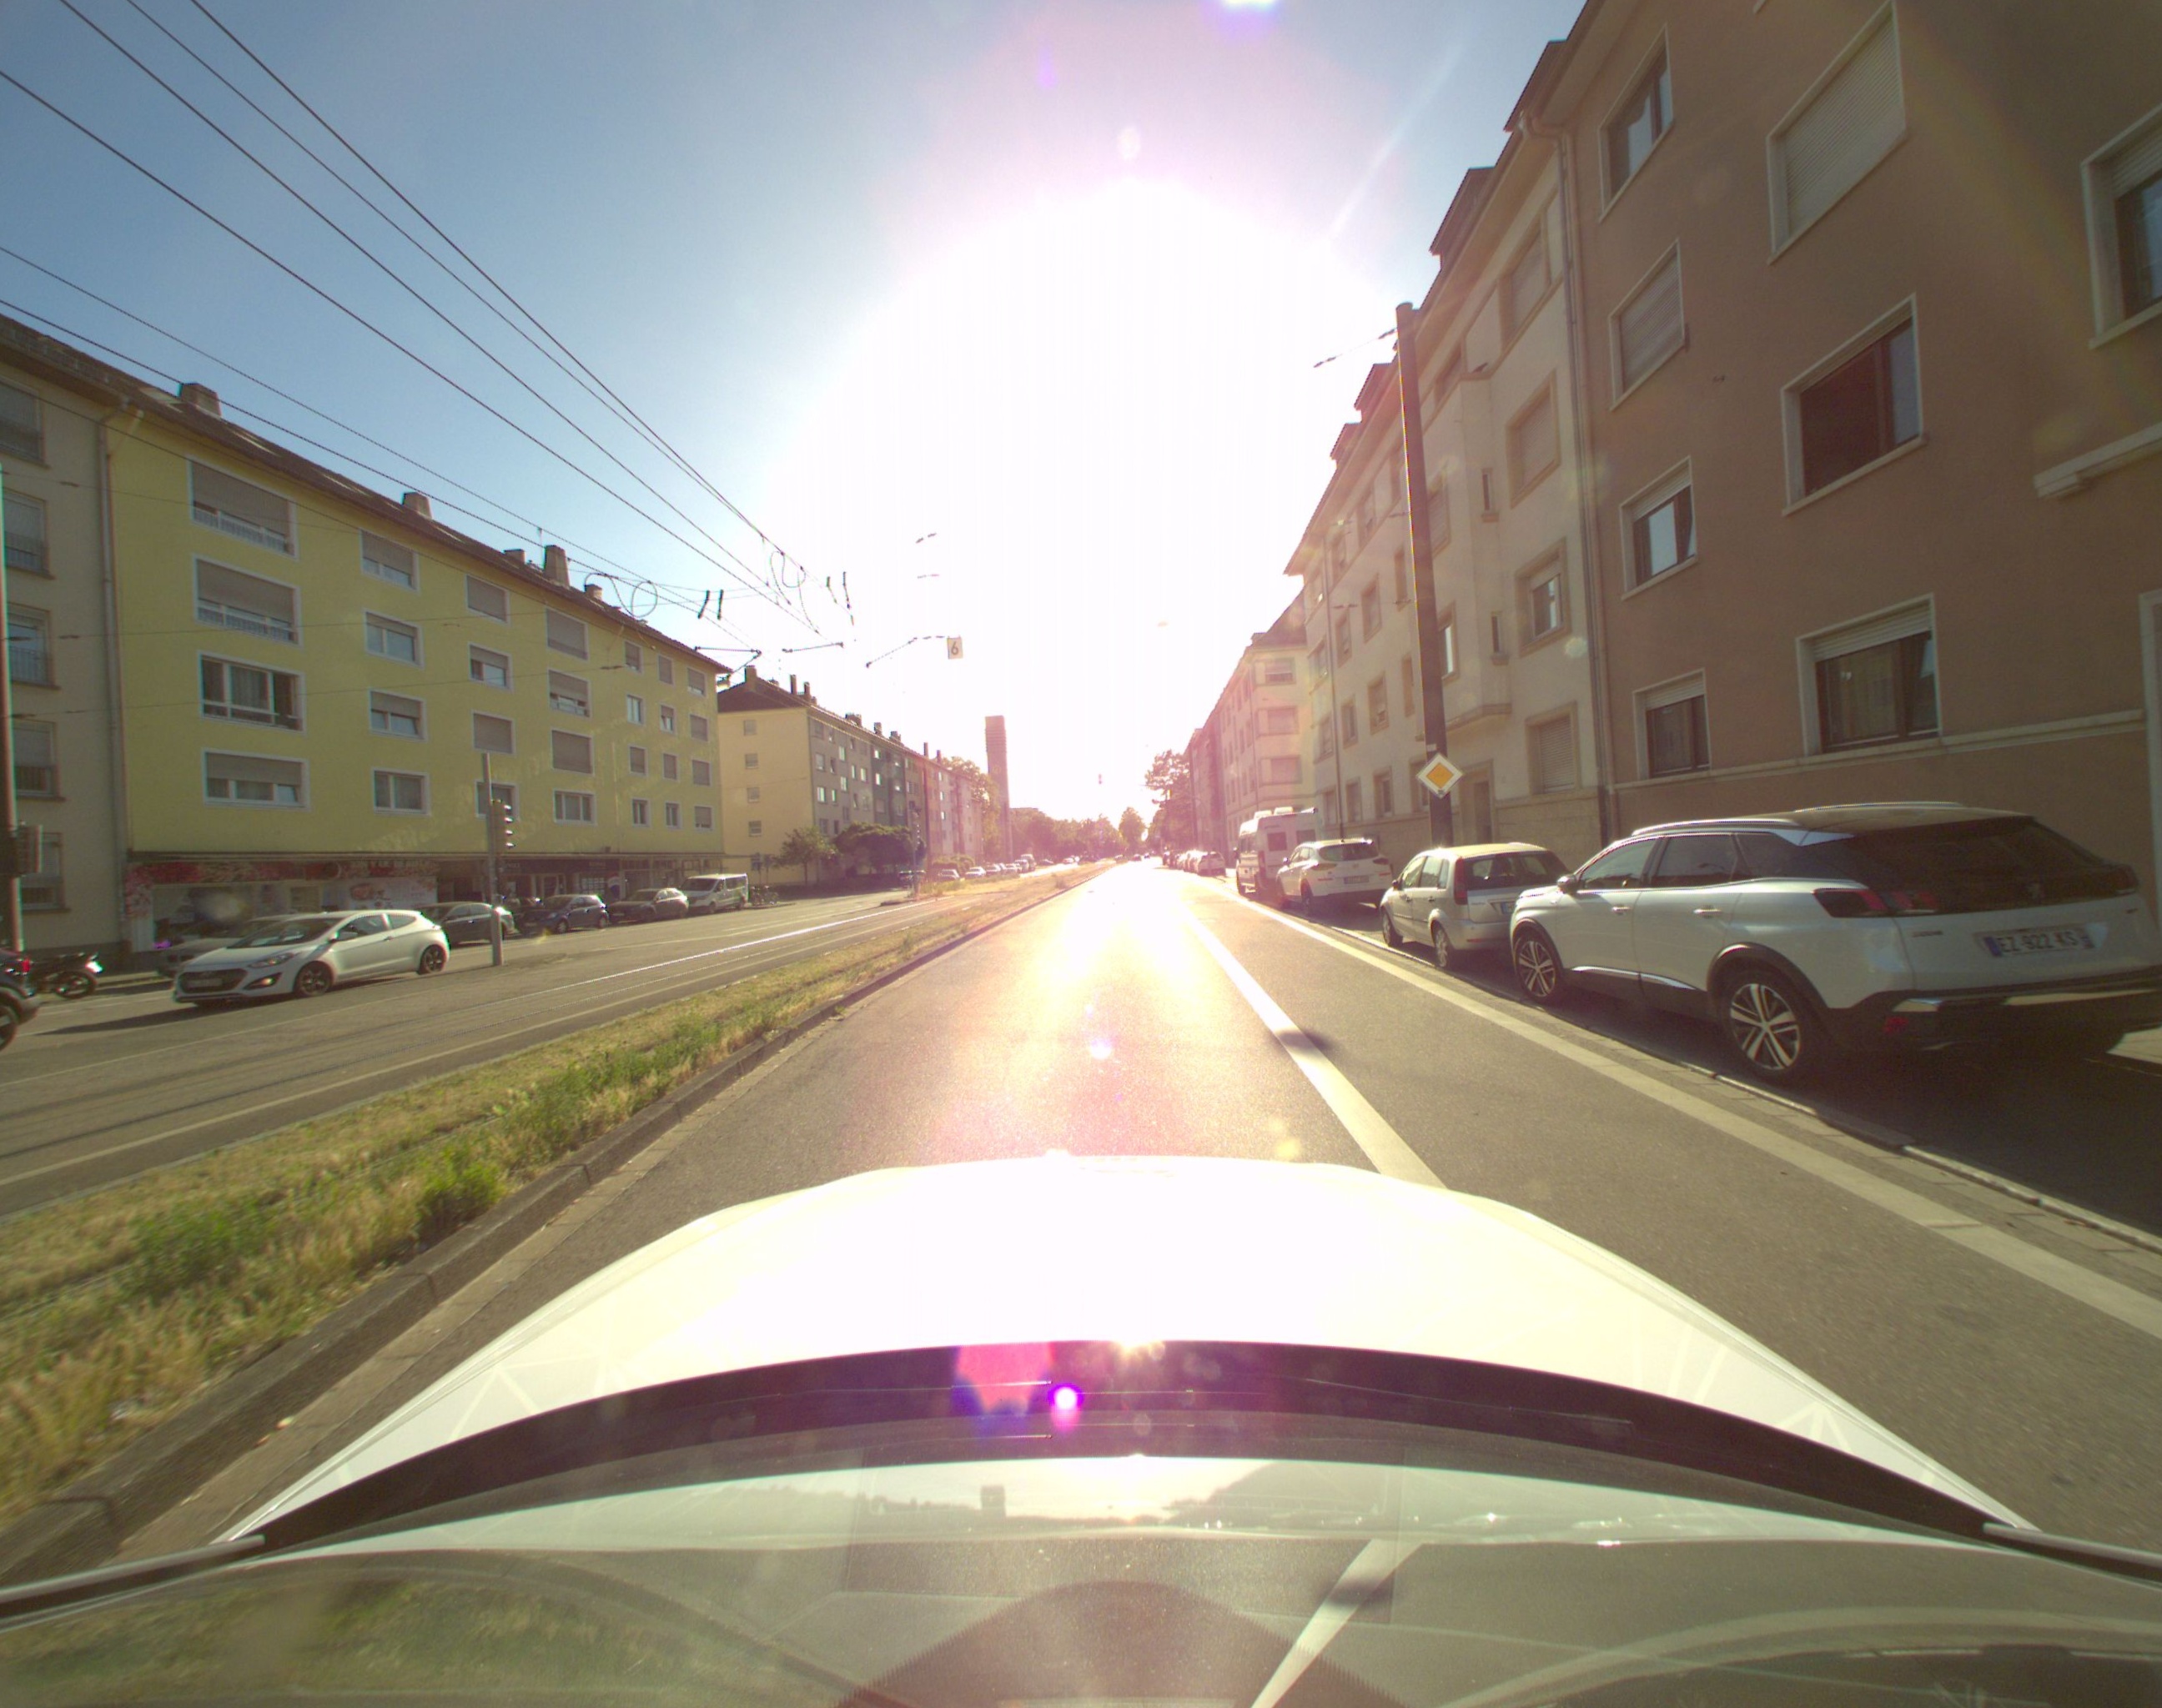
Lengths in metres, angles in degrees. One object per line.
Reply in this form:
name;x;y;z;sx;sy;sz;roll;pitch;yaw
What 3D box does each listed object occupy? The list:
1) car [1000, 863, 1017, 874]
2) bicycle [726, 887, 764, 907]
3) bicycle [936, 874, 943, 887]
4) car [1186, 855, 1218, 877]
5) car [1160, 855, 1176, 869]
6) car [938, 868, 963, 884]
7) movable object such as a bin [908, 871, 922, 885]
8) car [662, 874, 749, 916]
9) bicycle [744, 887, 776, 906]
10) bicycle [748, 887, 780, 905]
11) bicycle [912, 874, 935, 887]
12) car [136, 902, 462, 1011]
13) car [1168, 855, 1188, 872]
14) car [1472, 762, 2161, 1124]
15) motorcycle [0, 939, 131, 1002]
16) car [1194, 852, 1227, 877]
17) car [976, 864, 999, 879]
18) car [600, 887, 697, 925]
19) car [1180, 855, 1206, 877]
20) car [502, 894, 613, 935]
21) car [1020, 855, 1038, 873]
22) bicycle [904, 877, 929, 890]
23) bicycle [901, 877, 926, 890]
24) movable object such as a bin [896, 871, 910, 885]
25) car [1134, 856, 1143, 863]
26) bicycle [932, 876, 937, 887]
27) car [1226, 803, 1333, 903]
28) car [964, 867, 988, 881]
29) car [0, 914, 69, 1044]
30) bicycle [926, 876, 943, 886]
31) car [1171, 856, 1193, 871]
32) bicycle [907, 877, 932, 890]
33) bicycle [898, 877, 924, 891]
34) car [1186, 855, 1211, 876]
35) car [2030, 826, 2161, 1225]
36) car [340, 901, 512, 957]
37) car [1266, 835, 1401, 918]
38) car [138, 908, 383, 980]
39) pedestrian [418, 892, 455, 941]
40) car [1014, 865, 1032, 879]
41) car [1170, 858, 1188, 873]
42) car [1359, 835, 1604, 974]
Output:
car;-10.342;2.099;116.897;1.885;1.491;4.705;-1;0;2
bicycle;-19.720;2.523;47.783;2.088;1.106;0.473;0;-1;4
bicycle;-12.710;2.401;73.245;0.509;1.092;1.931;0;-1;-8
car;8.683;0.863;58.547;1.630;1.458;4.081;-4;-1;0
car;12.185;1.169;114.119;1.870;1.717;4.940;-6;-1;5
car;-12.653;2.144;79.065;1.629;1.442;3.735;-1;-1;2
movable object such as a bin;-16.996;2.460;83.386;1.141;1.368;1.041;0;-1;6
car;-19.851;2.119;43.363;1.987;1.949;5.501;0;-1;1
bicycle;-19.524;2.577;49.562;1.811;1.106;0.391;0;-1;4
bicycle;-19.445;2.567;49.999;1.811;1.106;0.391;0;-1;4
bicycle;-14.021;2.328;72.499;2.028;1.092;0.619;-1;-1;31
car;-14.104;1.756;15.163;1.829;1.385;4.411;-4;0;-2
car;11.756;1.133;98.971;1.905;1.899;5.139;-6;-1;3
car;5.080;0.453;6.422;1.795;1.697;4.492;-6;0;2
motorcycle;-21.273;2.397;16.810;2.118;1.139;0.482;0;-1;-30
car;8.365;0.676;53.081;1.686;1.458;4.384;-4;-1;4
car;-11.696;2.156;102.272;1.985;1.838;4.614;-1;-1;4
car;-19.889;2.366;37.700;1.775;1.474;4.600;0;0;3
car;9.493;0.976;69.220;1.629;1.647;4.375;-5;-1;2
car;-20.617;2.349;32.283;1.775;1.385;3.771;0;-1;3
car;-8.730;1.690;136.159;2.022;2.869;6.236;-2;-1;5
bicycle;-14.056;2.552;69.691;2.035;1.092;0.617;-1;-1;9
bicycle;-14.187;2.479;69.012;2.035;1.092;0.617;-1;-1;9
movable object such as a bin;-18.280;2.471;83.511;1.141;1.368;1.041;0;-1;6
car;11.982;1.172;170.446;1.688;1.508;3.700;-1;0;2
bicycle;-13.182;2.463;73.163;0.376;0.866;2.049;0;-1;-8
car;6.278;-0.008;26.642;2.141;2.696;6.298;-5;-1;4
car;-11.812;2.292;91.948;1.721;1.454;4.381;-2;-1;4
car;-14.058;1.594;8.361;1.778;1.528;4.412;-4;0;-1
bicycle;-13.165;2.412;73.028;1.567;0.869;0.420;-1;-1;26
car;9.850;0.947;79.856;1.695;1.275;4.306;-7;-1;3
bicycle;-13.953;2.572;70.420;2.035;1.092;0.617;-1;-1;9
bicycle;-14.220;2.508;68.299;2.035;1.092;0.617;-1;-1;9
car;9.197;0.897;63.908;1.628;1.517;4.193;-4;-1;4
car;4.839;0.568;1.301;1.739;1.479;4.155;-6;-1;2
car;-20.802;2.341;26.148;1.775;1.420;4.419;0;0;3
car;5.862;0.489;19.495;1.840;1.637;4.577;-4;-1;2
car;-20.971;2.240;21.140;1.776;1.385;4.417;0;0;2
pedestrian;-25.054;2.419;31.664;0.668;1.860;0.924;0;-1;3
car;-9.123;2.817;128.676;2.022;2.021;5.377;0;-1;5
car;10.494;1.212;87.607;1.628;1.454;3.793;-5;-1;4
car;5.268;0.583;11.349;1.614;1.460;4.060;-5;-1;5
